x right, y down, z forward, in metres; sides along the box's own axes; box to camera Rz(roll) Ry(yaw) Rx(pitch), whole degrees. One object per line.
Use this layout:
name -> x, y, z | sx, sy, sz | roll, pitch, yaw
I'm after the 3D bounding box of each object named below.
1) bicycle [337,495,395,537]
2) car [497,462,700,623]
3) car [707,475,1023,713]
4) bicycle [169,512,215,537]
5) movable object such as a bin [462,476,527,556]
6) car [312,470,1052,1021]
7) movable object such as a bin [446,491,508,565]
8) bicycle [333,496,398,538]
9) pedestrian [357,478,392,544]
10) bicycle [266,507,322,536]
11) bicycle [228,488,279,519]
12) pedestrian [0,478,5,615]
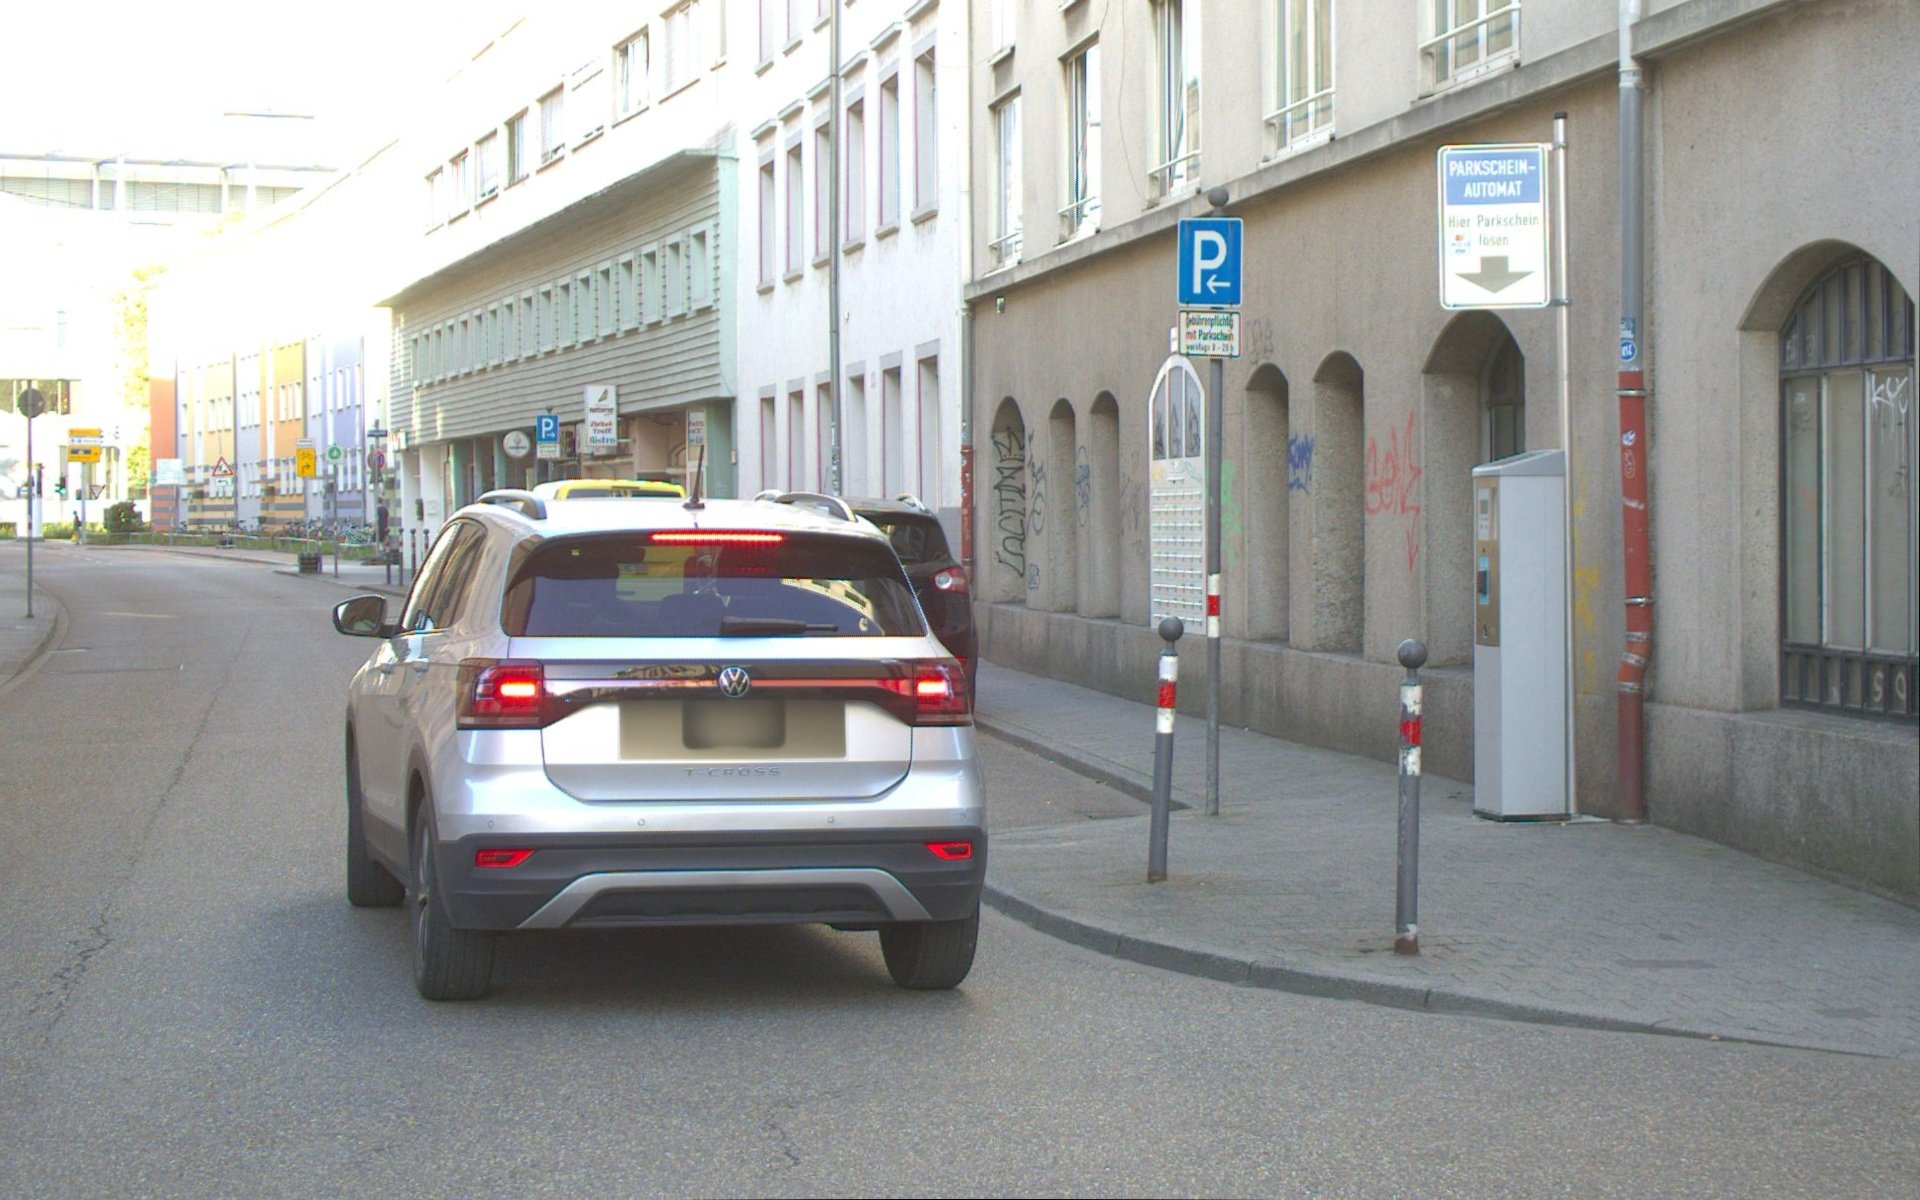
bicycle -> -17.754, -2.507, 102.766 | 1.641, 1.137, 0.283 | -5, 4, -26
car -> -4.544, -0.749, 42.612 | 1.883, 1.875, 4.847 | 0, 2, -13
car -> -0.819, -0.113, 26.171 | 1.824, 1.649, 4.495 | 0, 2, -9
bicycle -> -32.156, -3.155, 143.978 | 1.753, 1.000, 0.613 | -3, 2, -23
movable object such as a bin -> -9.015, -1.618, 66.504 | 0.981, 1.475, 1.552 | -3, 0, -16
car -> -1.141, 0.343, 11.843 | 1.824, 1.553, 3.988 | 0, 2, -15
movable object such as a bin -> -9.568, -1.417, 68.047 | 0.981, 1.380, 1.321 | -3, 0, -16
bicycle -> -17.528, -2.449, 101.323 | 1.748, 1.137, 0.552 | -5, 3, -18
pedestrian -> -16.012, -2.433, 93.994 | 0.696, 1.754, 1.189 | -4, 3, -18
bicycle -> -22.180, -2.607, 114.497 | 1.748, 0.943, 0.552 | -1, 2, -18
bicycle -> -26.820, -3.656, 130.479 | 1.810, 1.133, 0.552 | -2, 1, -20
pedestrian -> -12.087, -0.668, 42.139 | 0.692, 1.664, 0.875 | 1, 1, -14
